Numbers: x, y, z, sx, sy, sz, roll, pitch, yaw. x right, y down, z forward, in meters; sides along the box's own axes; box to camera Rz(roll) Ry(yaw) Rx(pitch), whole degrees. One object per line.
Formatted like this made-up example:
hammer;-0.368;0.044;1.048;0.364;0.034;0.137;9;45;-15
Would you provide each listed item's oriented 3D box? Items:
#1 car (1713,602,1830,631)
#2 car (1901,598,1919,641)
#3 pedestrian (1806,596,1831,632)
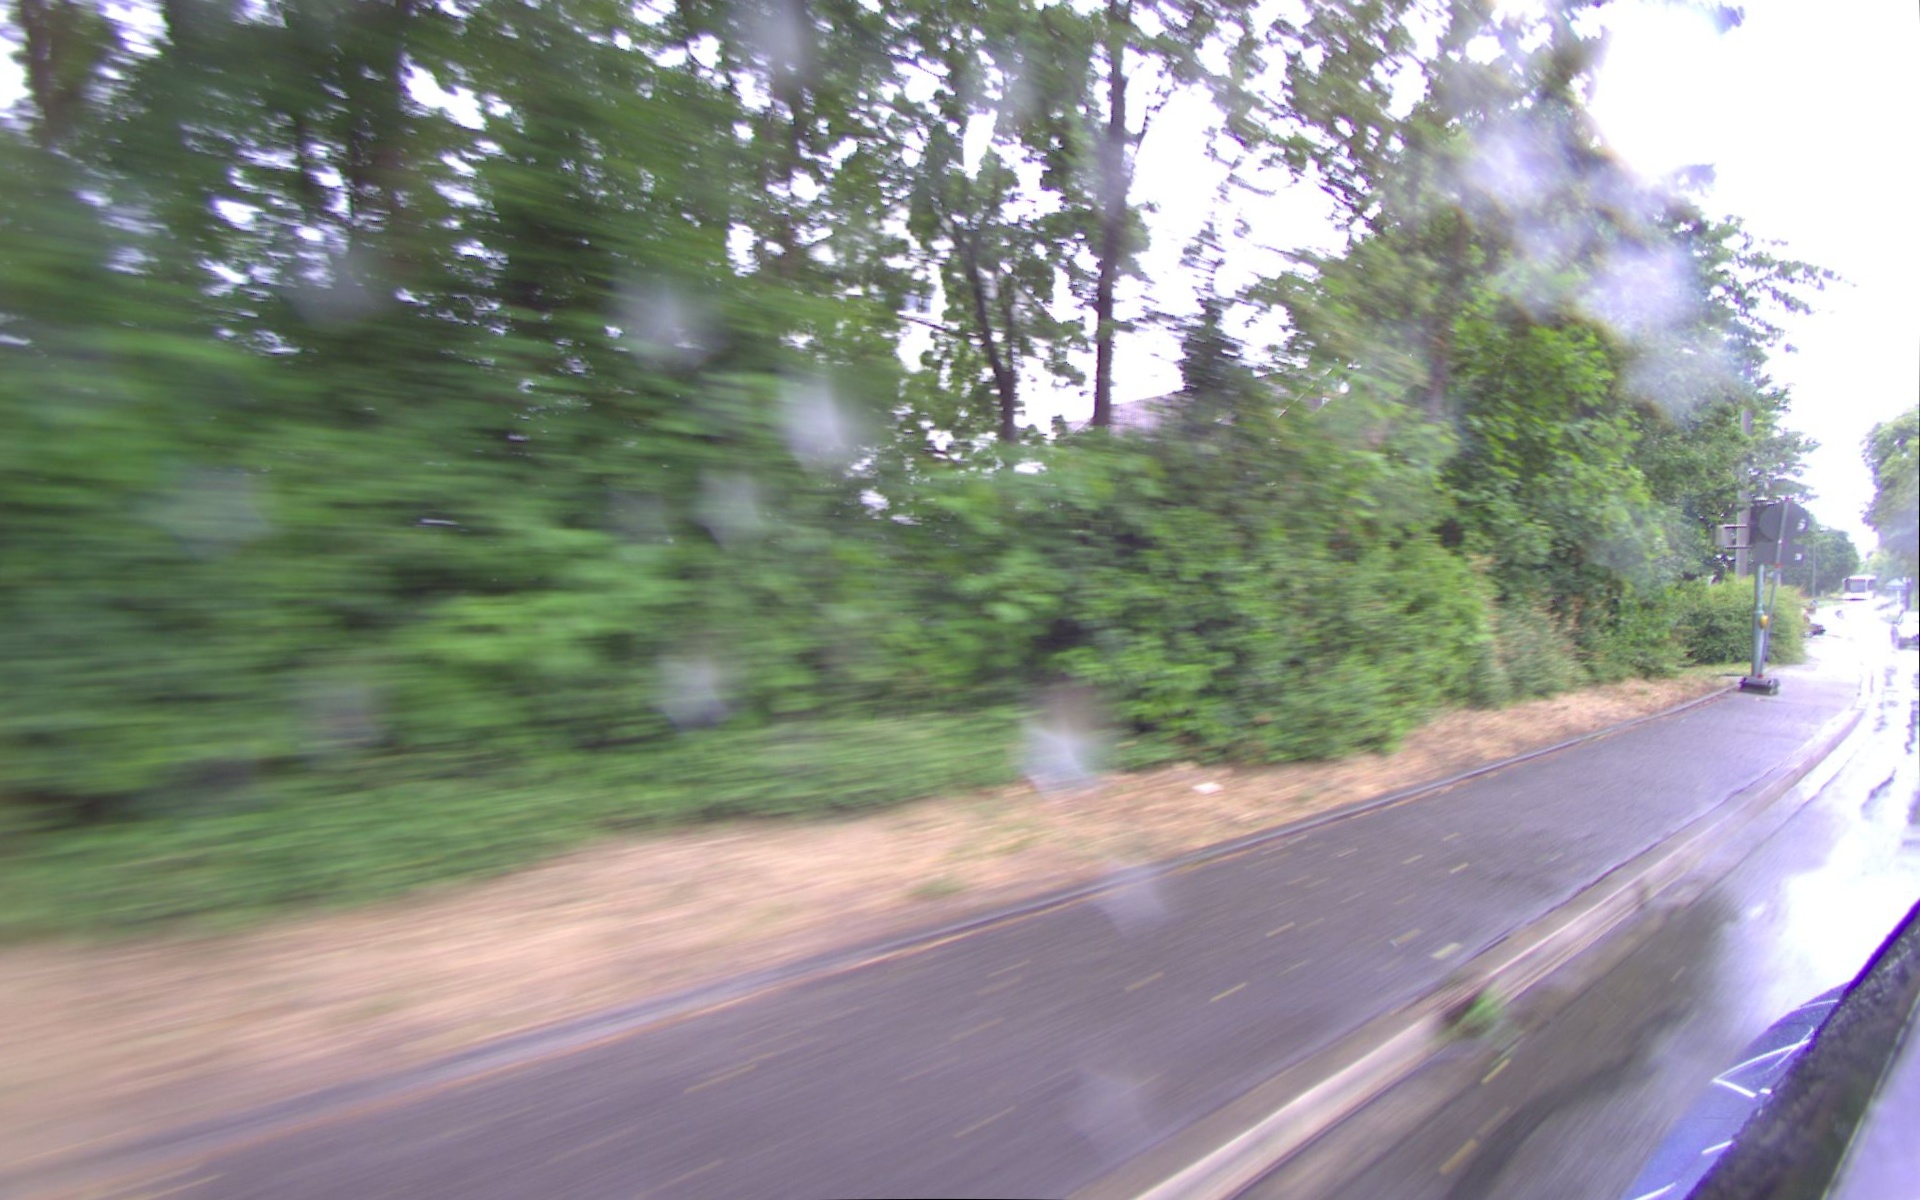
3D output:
car;43.177;0.840;53.926;4.793;1.432;1.780;0;0;42
car;37.314;0.711;38.488;1.790;1.571;3.946;0;0;37
pedestrian;38.664;0.632;45.584;0.768;1.545;0.860;3;1;41
